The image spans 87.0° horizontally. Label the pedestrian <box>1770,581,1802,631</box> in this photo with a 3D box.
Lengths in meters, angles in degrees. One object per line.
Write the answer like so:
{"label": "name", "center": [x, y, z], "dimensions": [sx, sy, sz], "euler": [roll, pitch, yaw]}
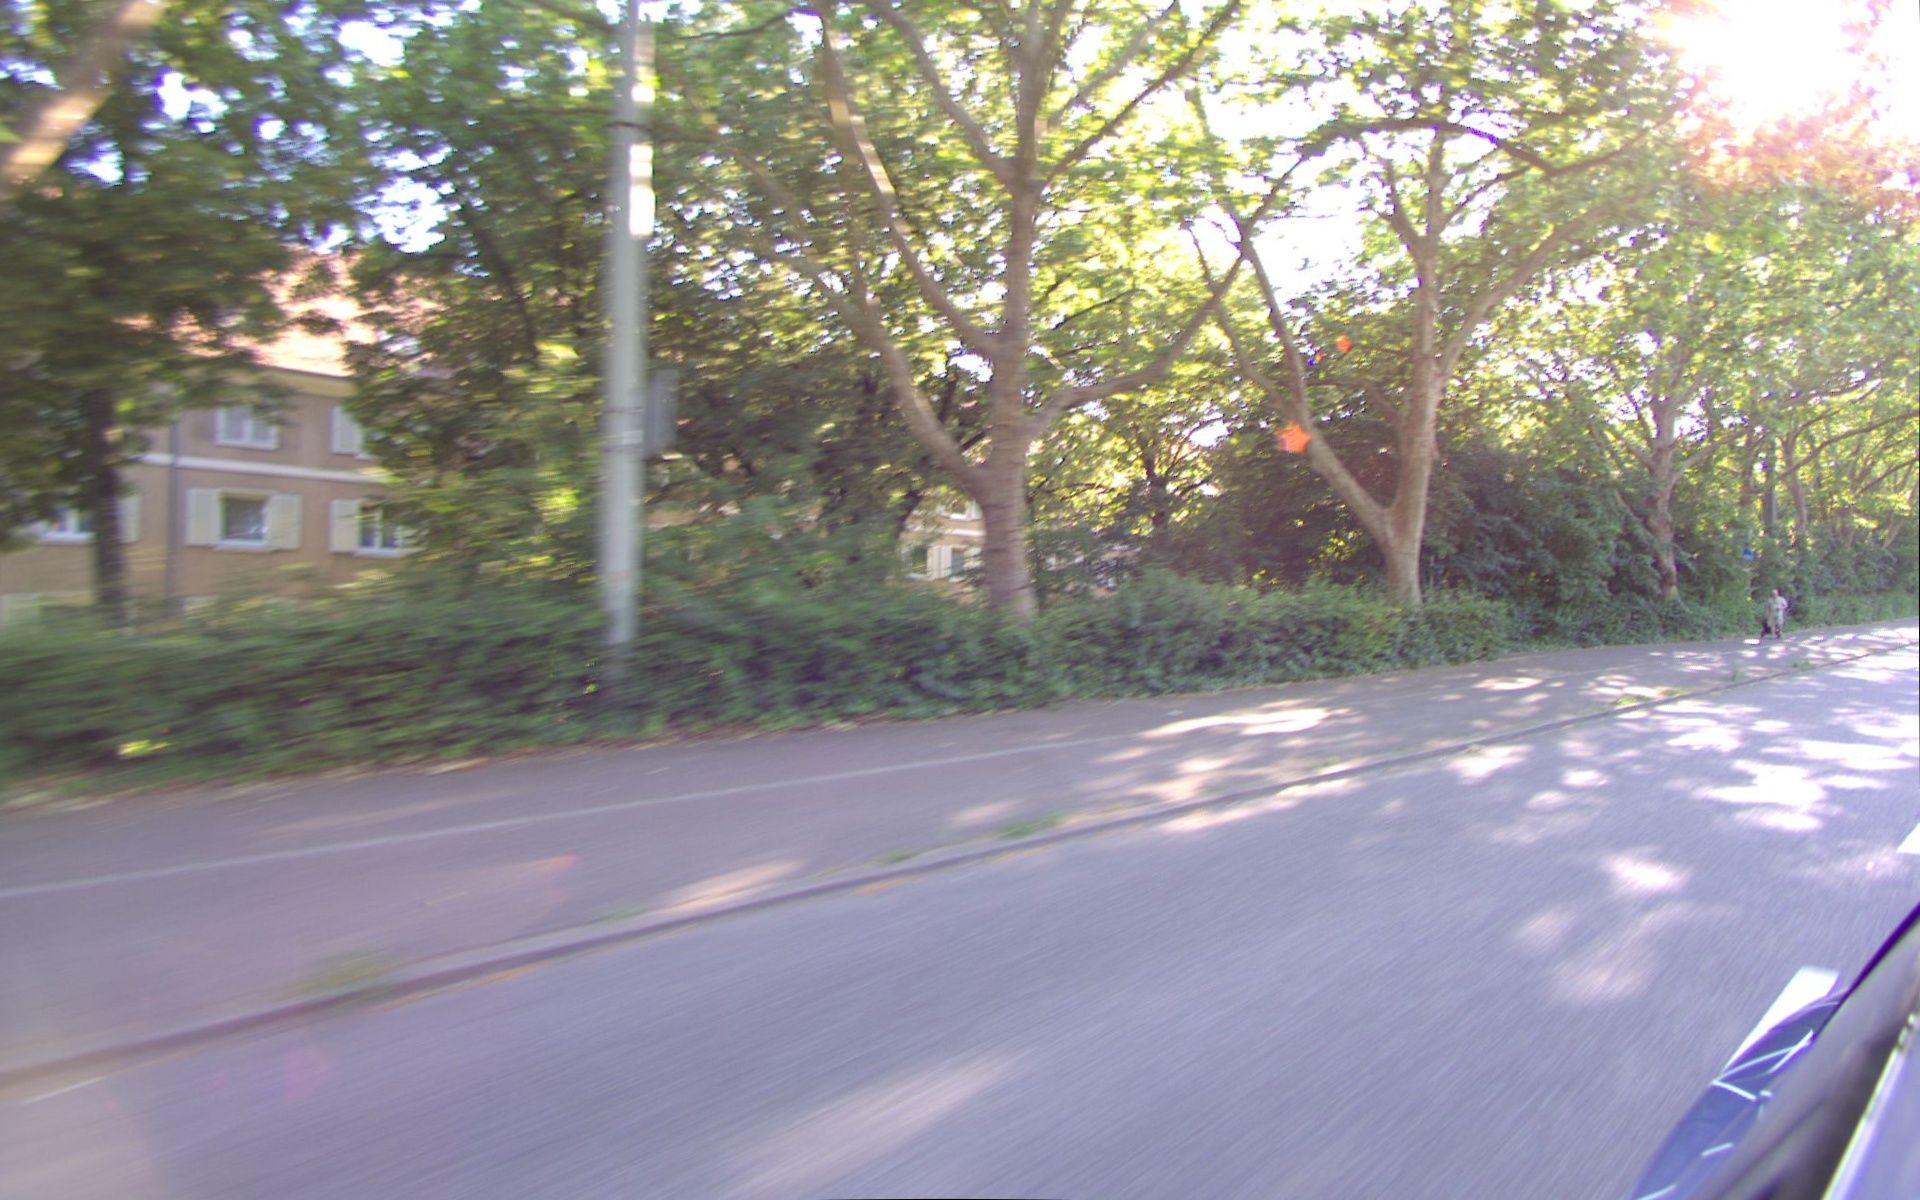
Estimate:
{"label": "pedestrian", "center": [28.135, 0.199, 34.461], "dimensions": [0.911, 1.656, 0.649], "euler": [0, 3, -41]}
